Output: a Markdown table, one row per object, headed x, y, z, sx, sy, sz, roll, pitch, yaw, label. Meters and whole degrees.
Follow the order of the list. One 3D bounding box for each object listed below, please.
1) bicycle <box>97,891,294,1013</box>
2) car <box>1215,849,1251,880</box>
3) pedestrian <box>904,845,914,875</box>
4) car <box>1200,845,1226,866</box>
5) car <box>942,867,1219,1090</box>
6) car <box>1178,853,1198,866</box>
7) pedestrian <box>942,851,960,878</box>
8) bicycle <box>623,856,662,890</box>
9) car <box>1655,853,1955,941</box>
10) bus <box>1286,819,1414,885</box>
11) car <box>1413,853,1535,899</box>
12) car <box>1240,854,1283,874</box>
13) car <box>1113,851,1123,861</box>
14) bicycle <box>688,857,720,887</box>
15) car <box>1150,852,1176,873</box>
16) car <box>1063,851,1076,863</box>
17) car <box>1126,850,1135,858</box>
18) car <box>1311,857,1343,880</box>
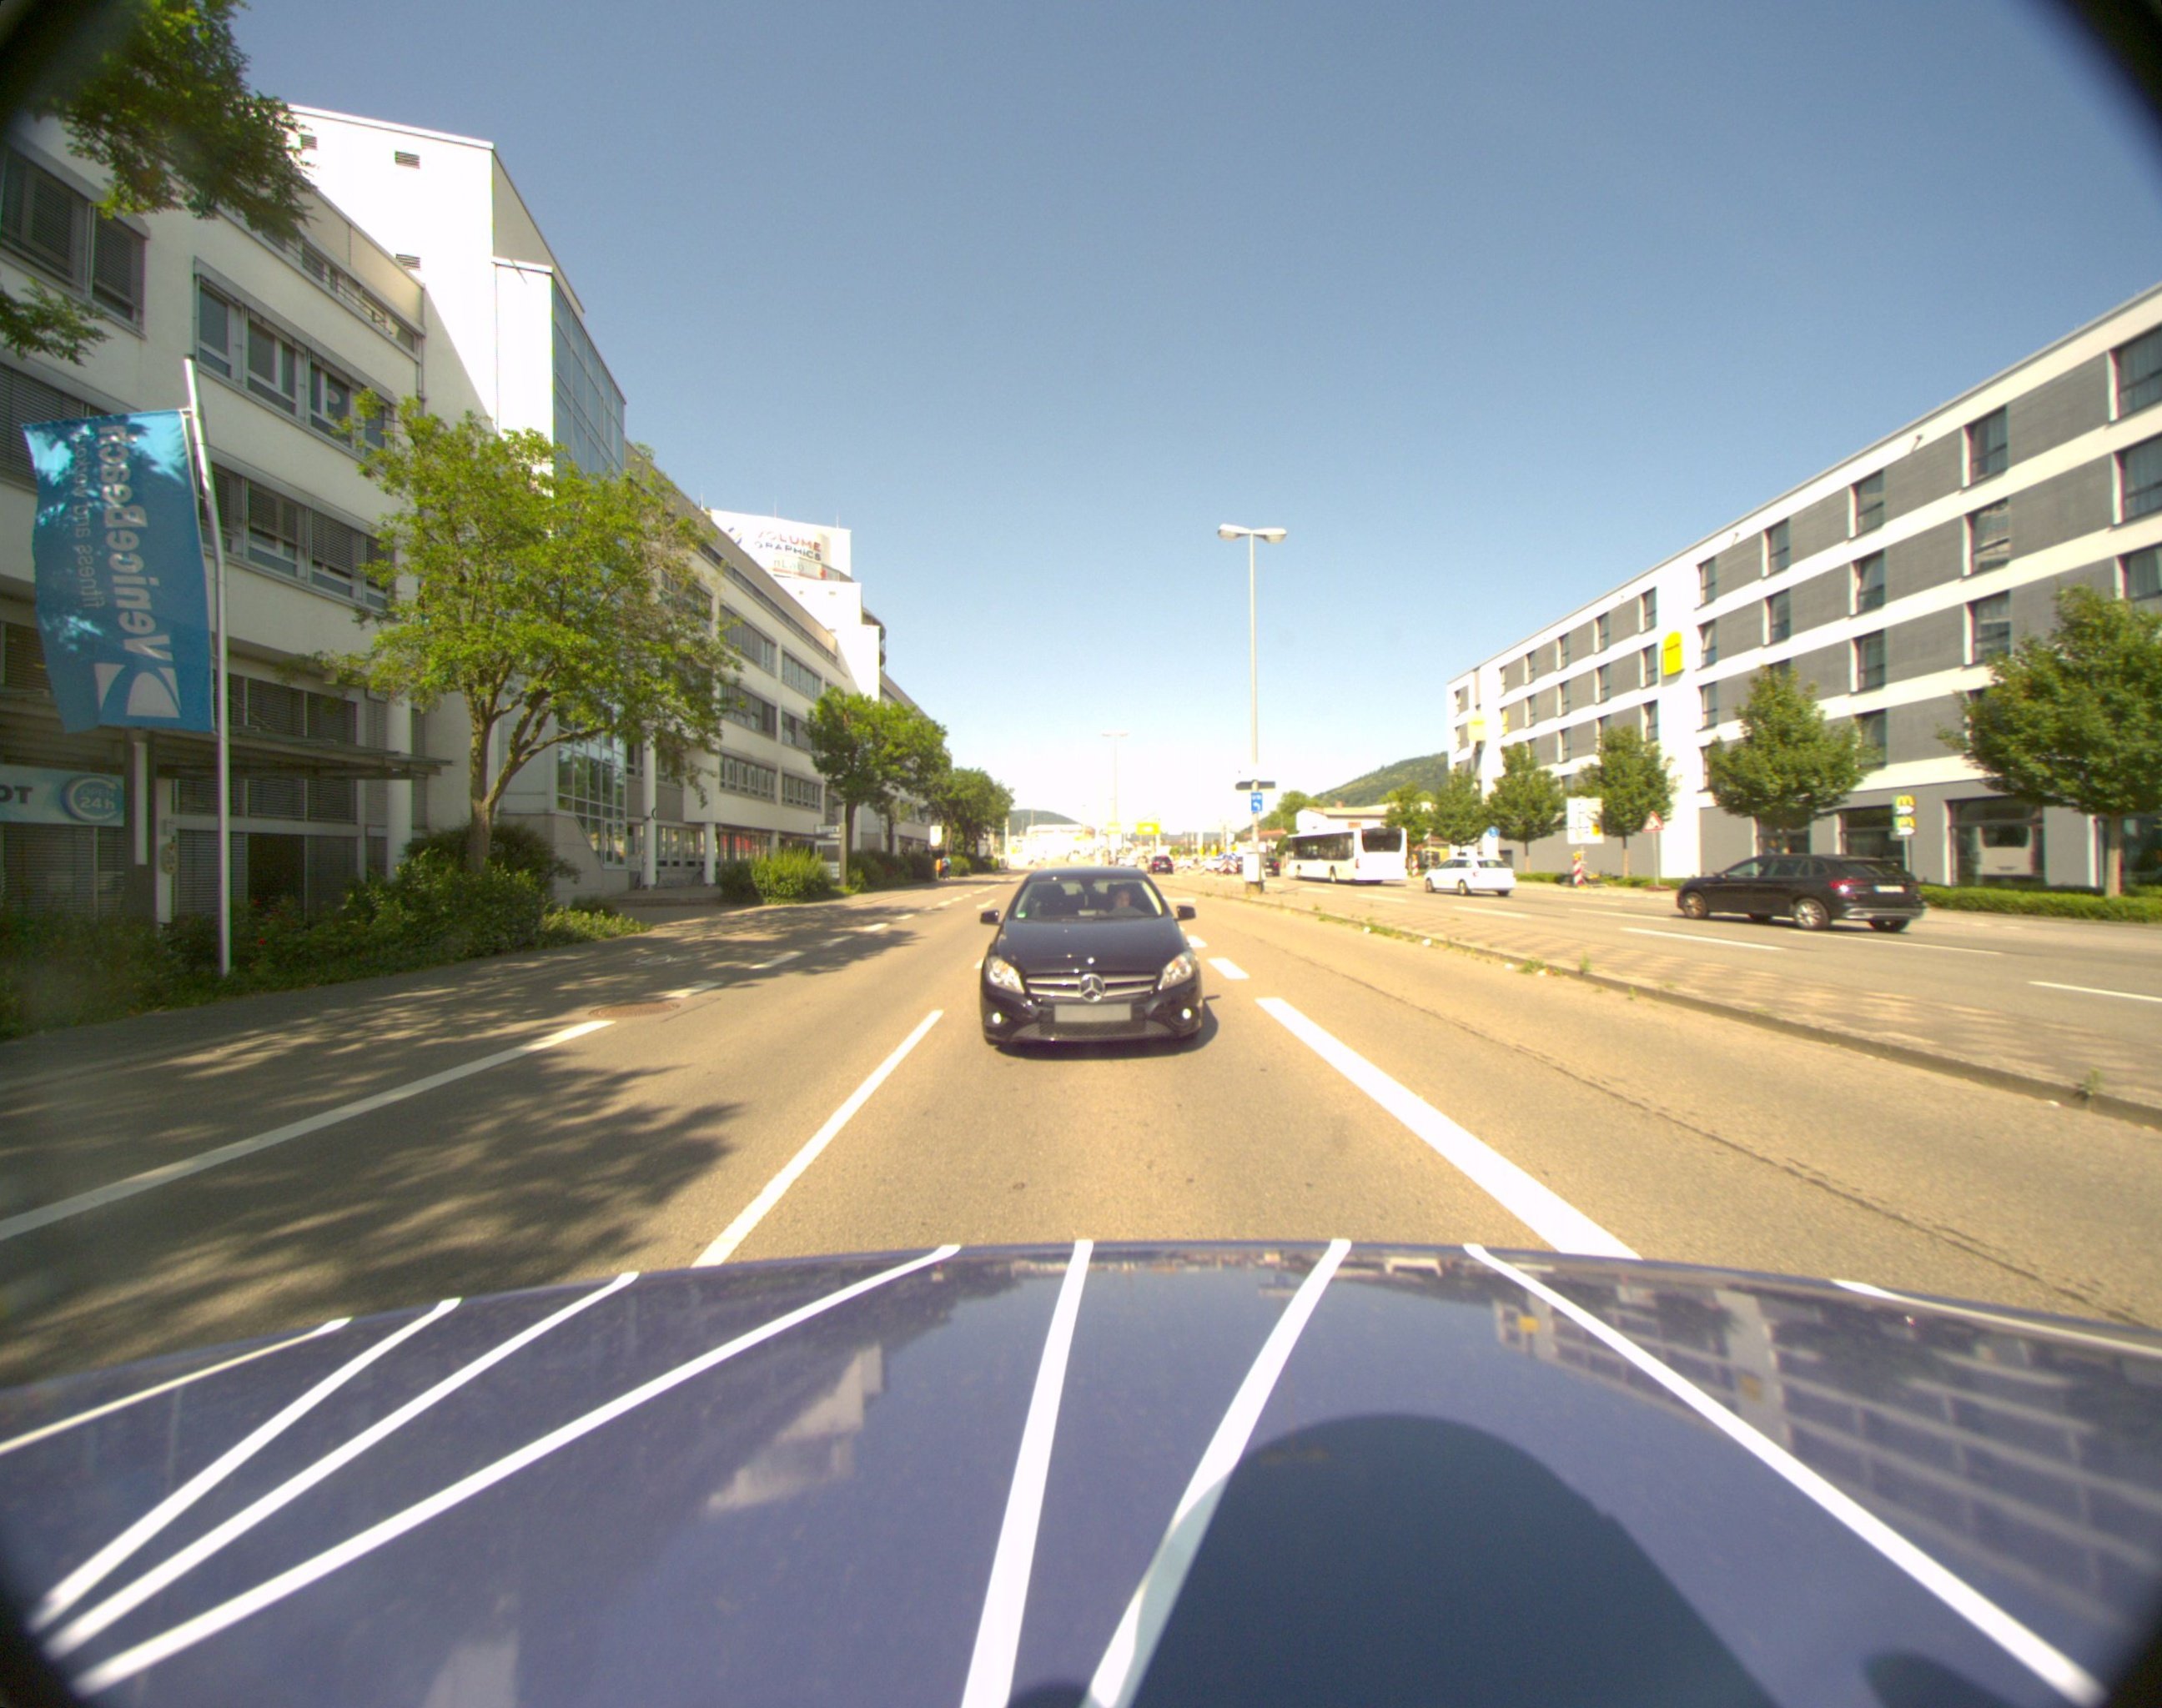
| x | y | z | sx | sy | sz | roll | pitch | yaw | label |
| --- | --- | --- | --- | --- | --- | --- | --- | --- | --- |
| -11.265 | 1.186 | 9.774 | 0.506 | 1.321 | 1.883 | 0 | 0 | -8 | bicycle |
| 10.734 | 0.706 | 53.775 | 1.679 | 2.002 | 4.164 | -2 | 1 | 1 | car |
| -14.914 | 0.511 | 65.885 | 0.717 | 2.534 | 0.716 | -1 | 1 | -1 | pedestrian |
| 13.928 | 0.181 | 80.614 | 1.999 | 2.000 | 4.002 | 1 | -4 | -1 | car |
| 0.024 | 0.908 | 7.621 | 1.905 | 1.431 | 4.693 | -1 | 0 | 1 | car |
| 13.652 | 0.704 | 97.315 | 1.719 | 1.609 | 3.590 | -1 | 0 | -5 | car |
| -9.213 | 0.748 | 53.909 | 0.942 | 1.875 | 1.289 | 2 | 1 | 0 | pedestrian |
| -18.063 | 0.763 | 31.334 | 0.506 | 1.346 | 1.884 | -1 | 0 | 1 | bicycle |
| 15.080 | 0.790 | 16.259 | 1.999 | 1.568 | 4.410 | 1 | 1 | -4 | car |
| 14.462 | -0.128 | 42.292 | 2.745 | 3.061 | 11.974 | 1 | 0 | 0 | bus |
| 14.736 | 0.775 | 28.790 | 1.999 | 1.477 | 4.410 | 2 | 1 | -5 | car |
| 13.370 | 0.716 | 56.536 | 1.998 | 1.424 | 4.890 | -1 | 0 | 0 | car |
| 7.838 | 0.445 | 162.152 | 1.998 | 2.002 | 3.999 | -2 | 1 | 1 | car |
| -17.722 | 0.810 | 35.732 | 0.506 | 1.346 | 1.884 | -1 | 0 | 1 | bicycle |
| 6.721 | 0.685 | 62.646 | 1.889 | 1.608 | 4.135 | -1 | 0 | 4 | car |
| -1.916 | 0.532 | 133.273 | 1.998 | 2.002 | 4.000 | -2 | 1 | 2 | car |
| 12.684 | 0.014 | 195.771 | 1.999 | 2.002 | 3.999 | 0 | 0 | 0 | car |
| 13.896 | 0.791 | 42.988 | 1.058 | 1.200 | 2.220 | -2 | 1 | 2 | car |
